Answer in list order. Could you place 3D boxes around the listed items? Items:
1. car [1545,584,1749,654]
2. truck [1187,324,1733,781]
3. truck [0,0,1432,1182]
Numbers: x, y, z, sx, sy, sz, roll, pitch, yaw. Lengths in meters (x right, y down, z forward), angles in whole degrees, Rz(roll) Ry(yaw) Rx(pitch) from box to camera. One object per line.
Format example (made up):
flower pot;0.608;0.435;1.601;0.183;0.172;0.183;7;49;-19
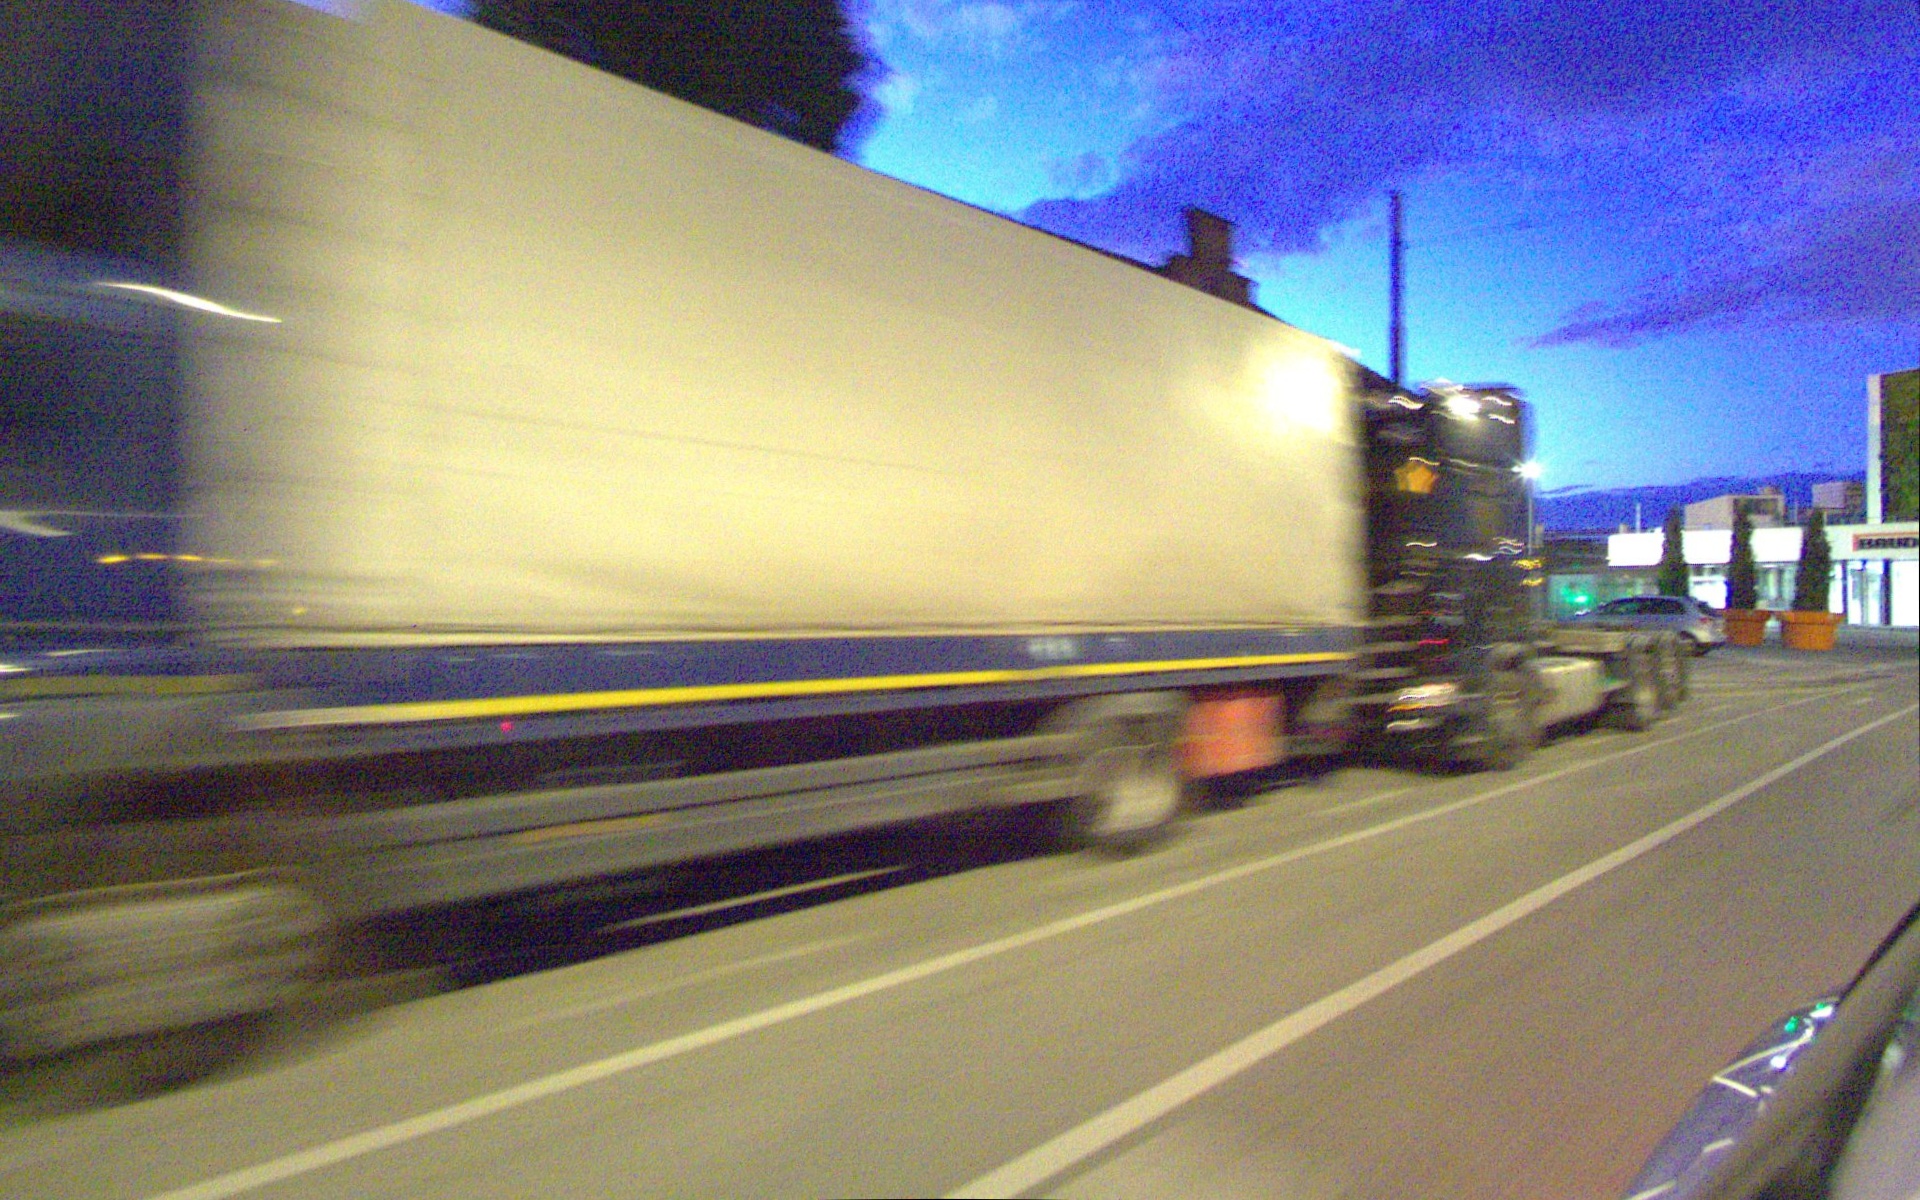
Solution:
car;18.946;0.473;28.069;1.859;1.666;4.334;1;2;-41
truck;6.662;-0.414;12.468;8.976;3.831;2.760;0;0;-41
truck;-0.720;-0.361;6.219;10.047;3.831;2.759;0;0;-41
